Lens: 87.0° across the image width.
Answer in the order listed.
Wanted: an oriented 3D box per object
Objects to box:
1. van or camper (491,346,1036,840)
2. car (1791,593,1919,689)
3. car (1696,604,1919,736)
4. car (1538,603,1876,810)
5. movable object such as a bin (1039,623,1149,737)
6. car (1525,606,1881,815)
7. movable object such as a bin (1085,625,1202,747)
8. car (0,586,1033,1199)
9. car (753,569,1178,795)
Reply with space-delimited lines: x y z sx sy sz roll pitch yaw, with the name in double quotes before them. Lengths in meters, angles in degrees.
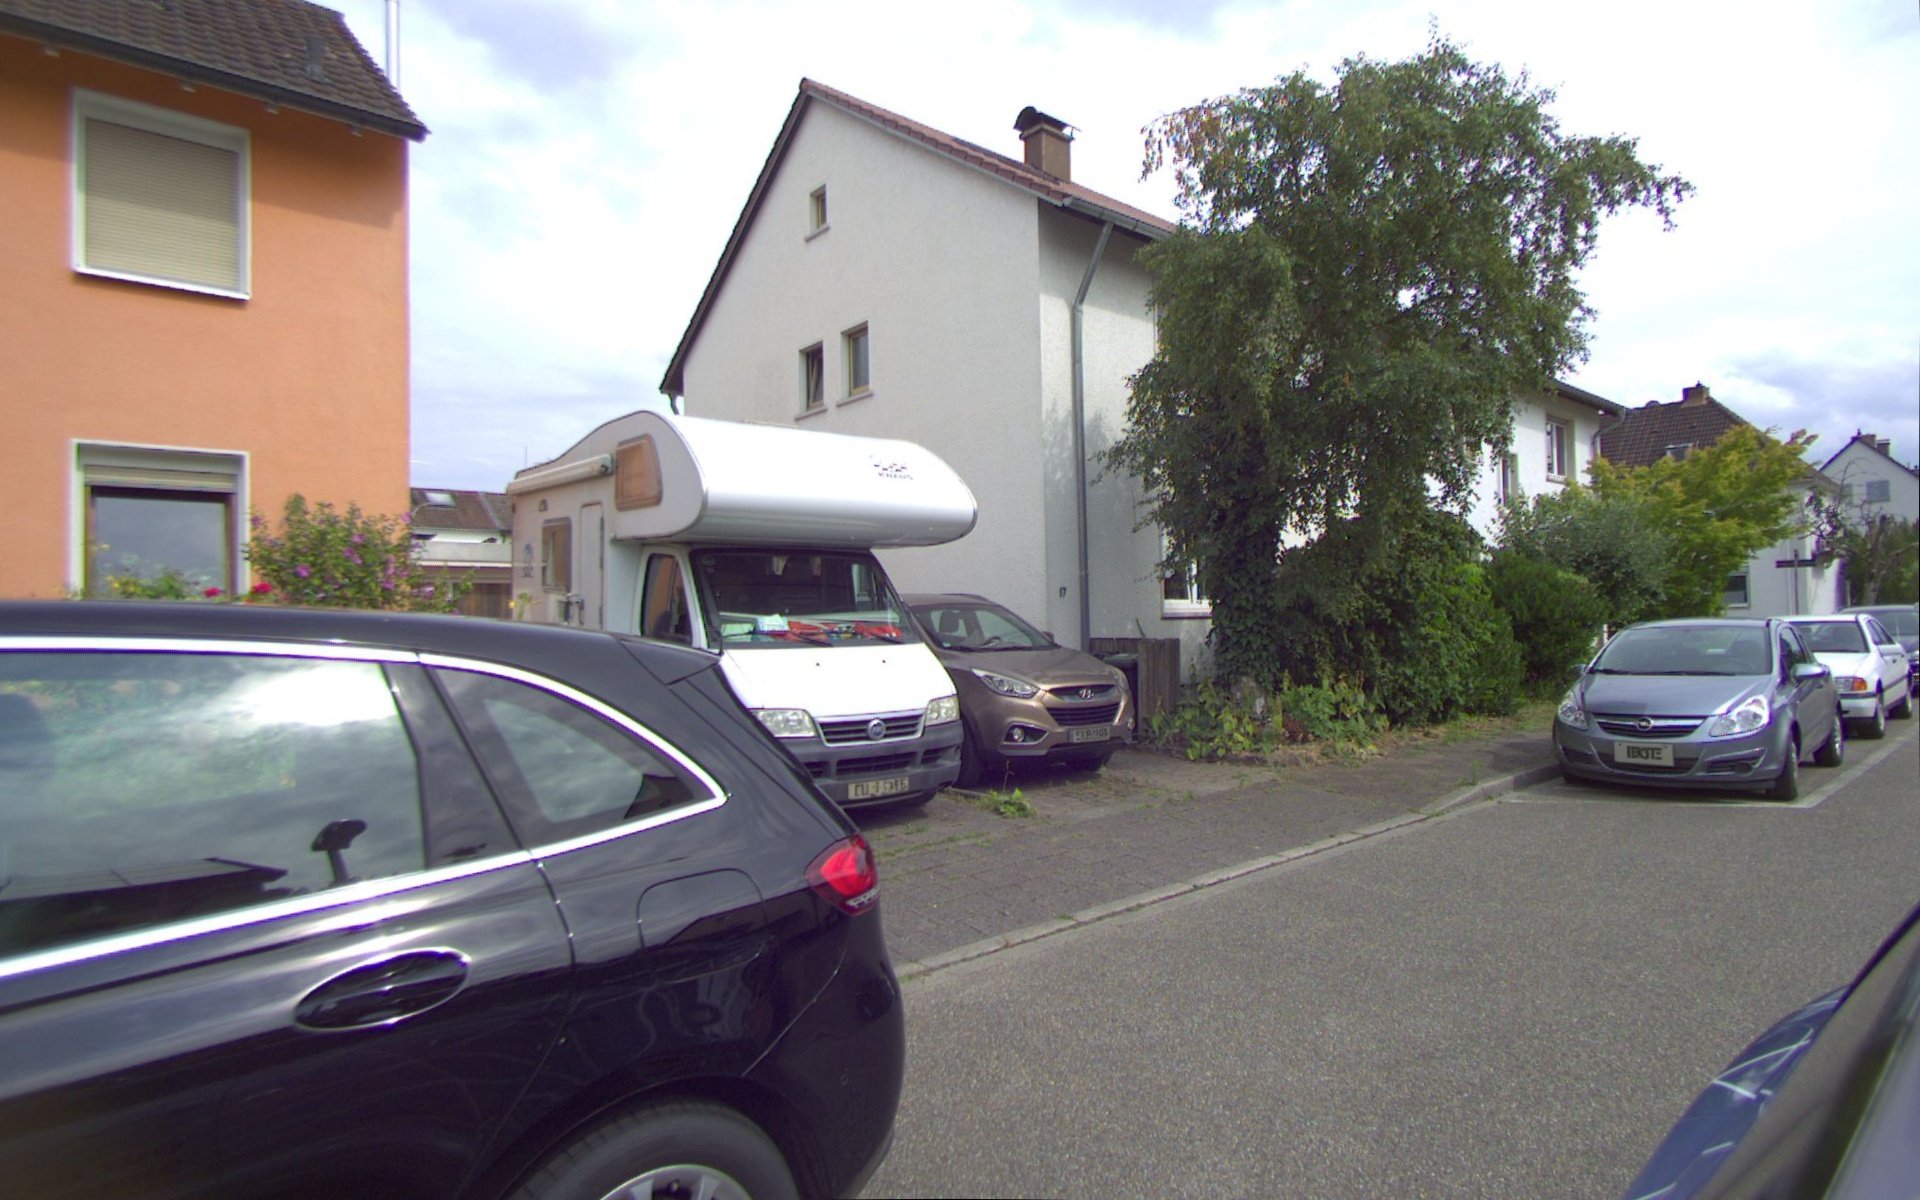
"van or camper" -2.172 -0.014 8.935 2.489 2.854 5.815 0 -1 -36
"car" 16.034 0.622 17.347 4.764 1.458 1.871 0 -2 -40
"car" 11.115 0.775 12.985 4.616 1.382 1.695 0 -2 -41
"car" 7.010 0.809 9.327 4.149 1.461 1.704 0 -3 -43
"movable object such as a bin" 1.523 0.871 11.459 1.122 1.191 0.654 0 -1 -41
"car" 6.975 0.821 9.344 4.143 1.489 1.744 0 -1 -41
"movable object such as a bin" 1.980 0.890 10.911 1.080 1.209 0.721 0 -1 -40
"car" -2.138 0.753 1.397 4.566 1.486 1.752 0 -2 -41
"car" -0.212 0.678 10.133 1.864 1.730 4.542 0 -1 -37
